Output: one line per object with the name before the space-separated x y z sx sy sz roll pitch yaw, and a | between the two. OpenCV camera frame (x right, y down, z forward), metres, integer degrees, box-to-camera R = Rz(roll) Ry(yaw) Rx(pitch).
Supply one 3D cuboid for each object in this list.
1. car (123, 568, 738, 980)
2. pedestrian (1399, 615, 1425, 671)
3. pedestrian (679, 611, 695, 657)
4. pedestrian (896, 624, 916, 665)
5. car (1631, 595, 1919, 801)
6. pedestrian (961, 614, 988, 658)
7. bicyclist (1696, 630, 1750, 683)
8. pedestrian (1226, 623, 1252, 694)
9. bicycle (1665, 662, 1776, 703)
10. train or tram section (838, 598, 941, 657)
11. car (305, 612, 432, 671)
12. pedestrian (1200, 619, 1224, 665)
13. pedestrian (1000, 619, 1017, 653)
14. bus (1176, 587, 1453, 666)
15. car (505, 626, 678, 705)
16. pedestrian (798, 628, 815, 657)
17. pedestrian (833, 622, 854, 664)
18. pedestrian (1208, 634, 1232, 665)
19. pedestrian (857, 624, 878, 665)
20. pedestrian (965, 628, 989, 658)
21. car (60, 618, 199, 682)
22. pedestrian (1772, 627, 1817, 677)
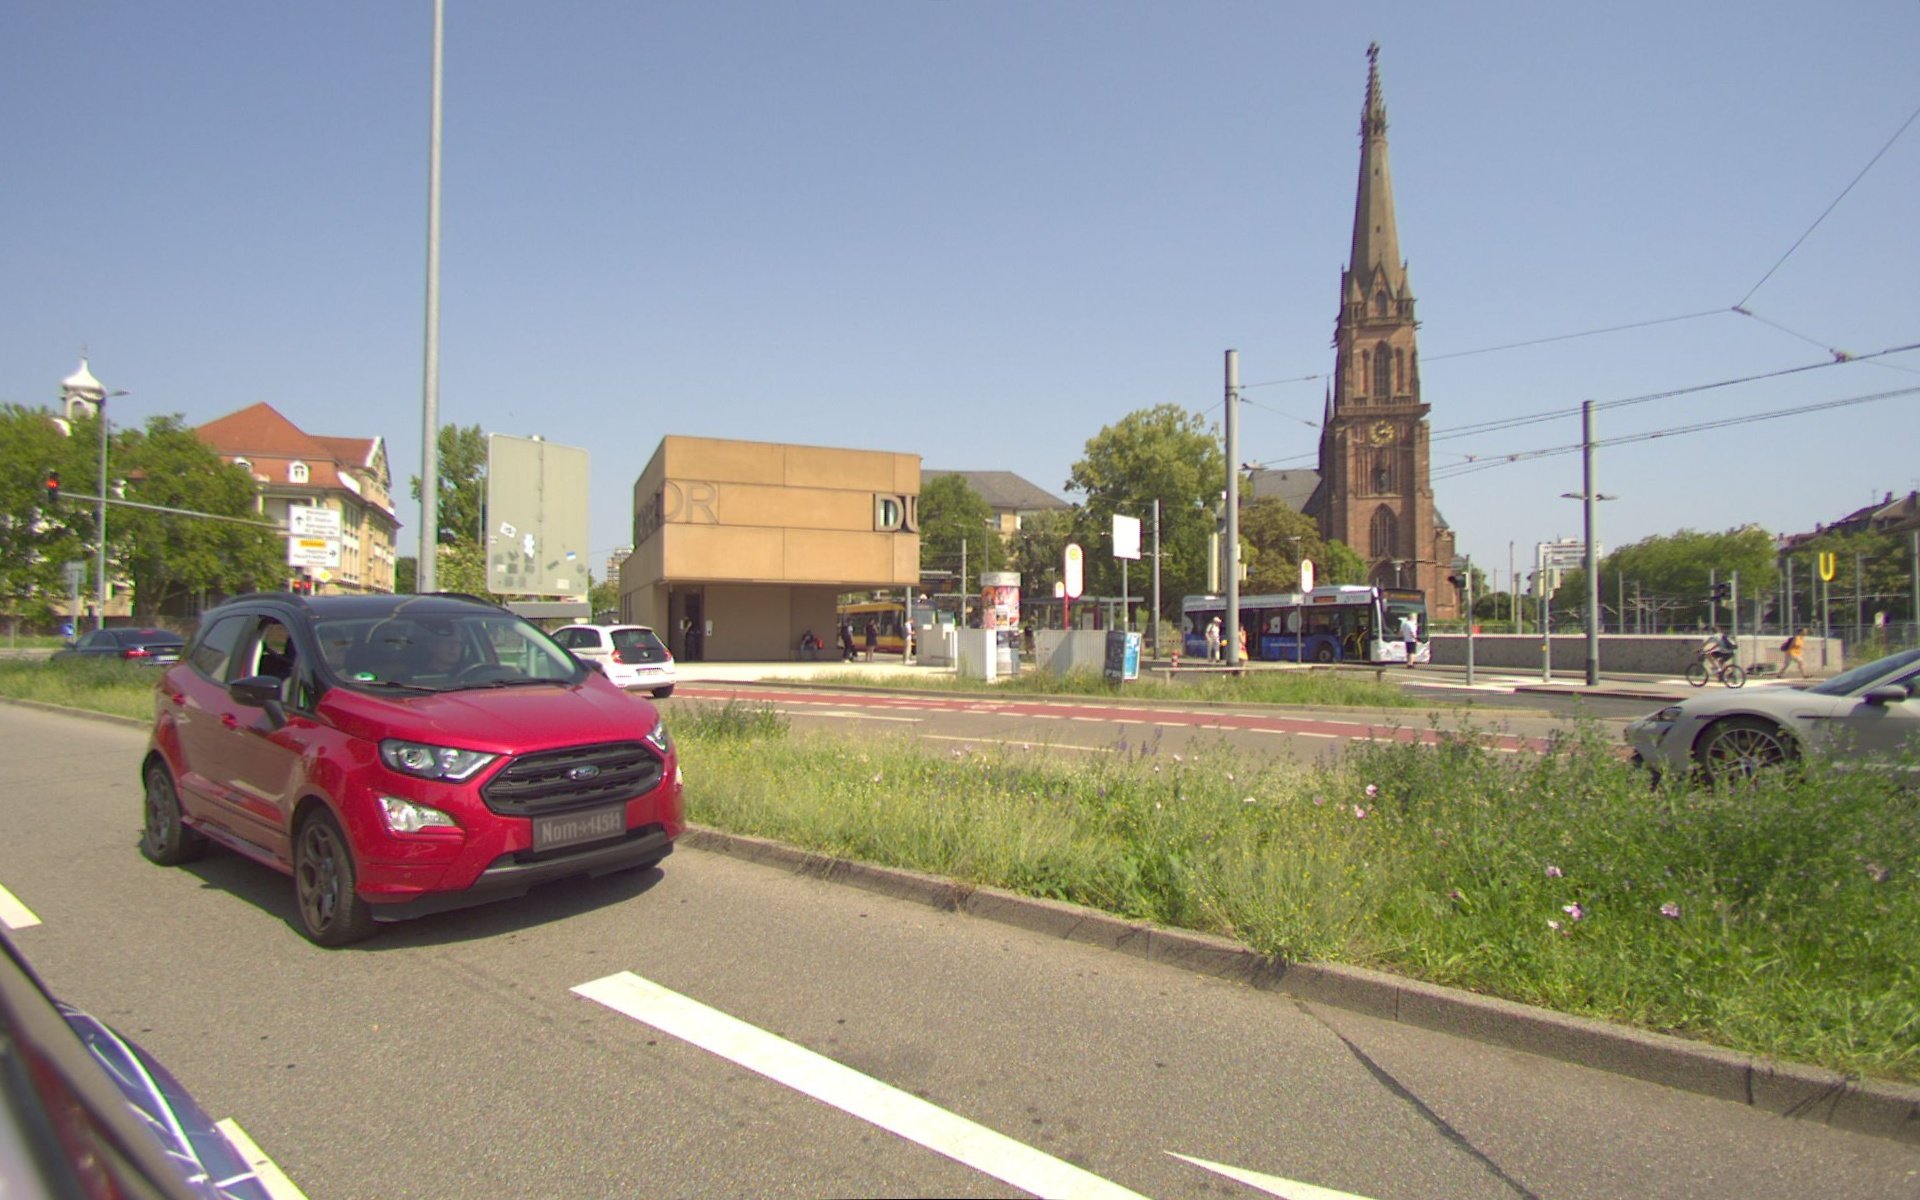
car | -3.181 0.711 5.777 3.839 1.598 1.674 -2 -1 38
pedestrian | 15.072 1.421 33.743 0.638 1.825 0.593 -1 0 44
pedestrian | -9.712 1.213 36.015 0.532 1.637 0.690 1 -2 -15
pedestrian | -2.028 1.680 38.221 0.541 1.508 0.532 -1 -3 39
car | 8.485 0.776 8.300 4.714 1.597 1.972 -2 -3 42
pedestrian | 0.508 1.253 35.251 0.605 1.508 0.761 -1 -3 39
bicyclist | 21.695 1.598 28.787 0.644 1.438 1.012 -1 0 -25
pedestrian | 7.401 1.546 26.870 0.632 1.825 0.599 -1 0 15
bicycle | 21.631 2.329 28.863 0.945 1.050 2.369 1 -2 -22
train or tram section | -4.867 1.818 65.554 2.658 3.465 13.464 1 -2 -22
car | -19.597 1.336 33.506 3.898 1.868 1.851 0 -2 28
pedestrian | 9.580 1.591 38.510 0.527 1.724 0.694 2 -2 -39
pedestrian | 2.644 1.944 55.267 0.792 1.837 0.535 1 -2 -22
bus | 13.681 1.119 41.089 3.346 2.733 12.382 1 -2 -21
car | -7.518 1.276 20.596 3.465 1.490 1.510 -1 -2 32
pedestrian | -5.815 1.603 38.342 0.530 1.108 0.543 1 -2 -19
pedestrian | -4.282 1.574 37.229 0.541 1.508 0.532 -1 -3 39
pedestrian | 10.012 1.911 38.985 0.628 1.134 0.603 -1 0 -40
pedestrian | -3.485 1.673 38.079 0.541 1.508 0.532 -1 -3 39
pedestrian | 0.993 2.499 59.301 1.060 1.709 1.068 1 -2 -22
car | -19.910 1.170 24.238 3.465 1.437 1.510 -1 -2 32
pedestrian | 26.545 1.638 32.200 0.730 1.555 0.861 1 -2 -30
